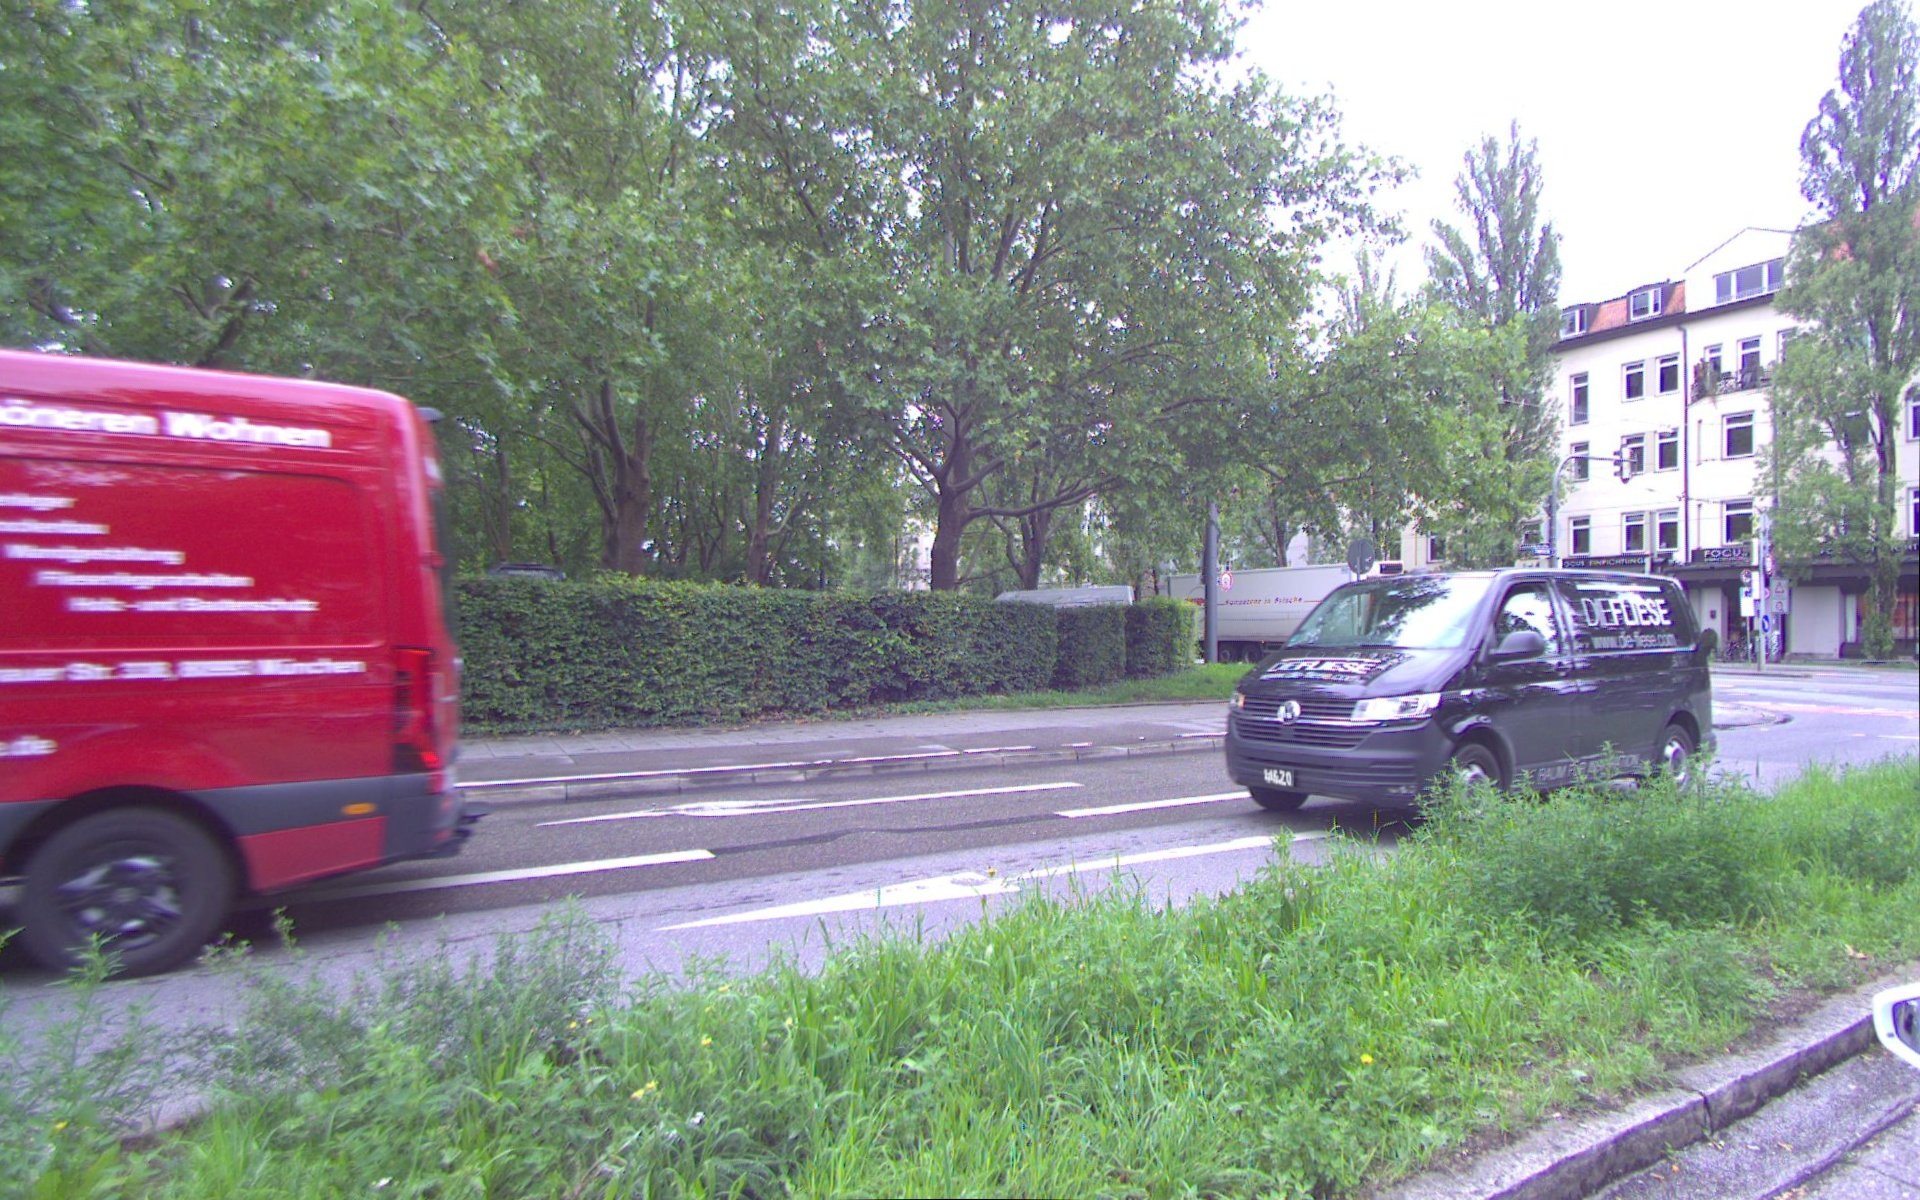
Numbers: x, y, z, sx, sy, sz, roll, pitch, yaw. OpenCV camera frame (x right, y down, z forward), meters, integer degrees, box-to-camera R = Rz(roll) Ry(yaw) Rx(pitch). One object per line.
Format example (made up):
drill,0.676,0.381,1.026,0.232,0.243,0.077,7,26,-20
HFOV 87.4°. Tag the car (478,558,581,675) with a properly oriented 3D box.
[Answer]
car,-10.900,0.369,25.170,1.974,2.569,5.823,2,0,-27

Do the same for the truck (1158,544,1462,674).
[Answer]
truck,12.222,0.412,36.961,2.716,4.033,11.623,0,-1,-30

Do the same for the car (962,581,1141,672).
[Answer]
car,2.531,0.720,27.386,4.536,2.040,2.001,-5,-1,11

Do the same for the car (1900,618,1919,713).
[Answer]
car,19.353,1.125,18.087,4.878,1.659,2.095,0,-2,-29

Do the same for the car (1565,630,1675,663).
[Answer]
car,30.980,2.158,47.244,1.786,1.485,3.964,2,-2,-33

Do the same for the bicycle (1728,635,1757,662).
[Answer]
bicycle,36.155,2.234,46.396,1.869,1.200,0.492,1,-2,-33

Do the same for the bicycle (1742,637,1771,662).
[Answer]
bicycle,36.455,2.248,45.966,1.869,1.096,0.492,1,-2,-33

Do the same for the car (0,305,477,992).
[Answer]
car,-5.345,0.215,4.167,6.001,2.623,2.096,0,-1,-27

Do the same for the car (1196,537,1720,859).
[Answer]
car,4.274,0.672,8.360,4.655,2.017,1.846,1,-2,-34

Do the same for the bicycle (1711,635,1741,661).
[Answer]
bicycle,35.880,2.229,47.044,1.869,1.200,0.492,1,-2,-33
